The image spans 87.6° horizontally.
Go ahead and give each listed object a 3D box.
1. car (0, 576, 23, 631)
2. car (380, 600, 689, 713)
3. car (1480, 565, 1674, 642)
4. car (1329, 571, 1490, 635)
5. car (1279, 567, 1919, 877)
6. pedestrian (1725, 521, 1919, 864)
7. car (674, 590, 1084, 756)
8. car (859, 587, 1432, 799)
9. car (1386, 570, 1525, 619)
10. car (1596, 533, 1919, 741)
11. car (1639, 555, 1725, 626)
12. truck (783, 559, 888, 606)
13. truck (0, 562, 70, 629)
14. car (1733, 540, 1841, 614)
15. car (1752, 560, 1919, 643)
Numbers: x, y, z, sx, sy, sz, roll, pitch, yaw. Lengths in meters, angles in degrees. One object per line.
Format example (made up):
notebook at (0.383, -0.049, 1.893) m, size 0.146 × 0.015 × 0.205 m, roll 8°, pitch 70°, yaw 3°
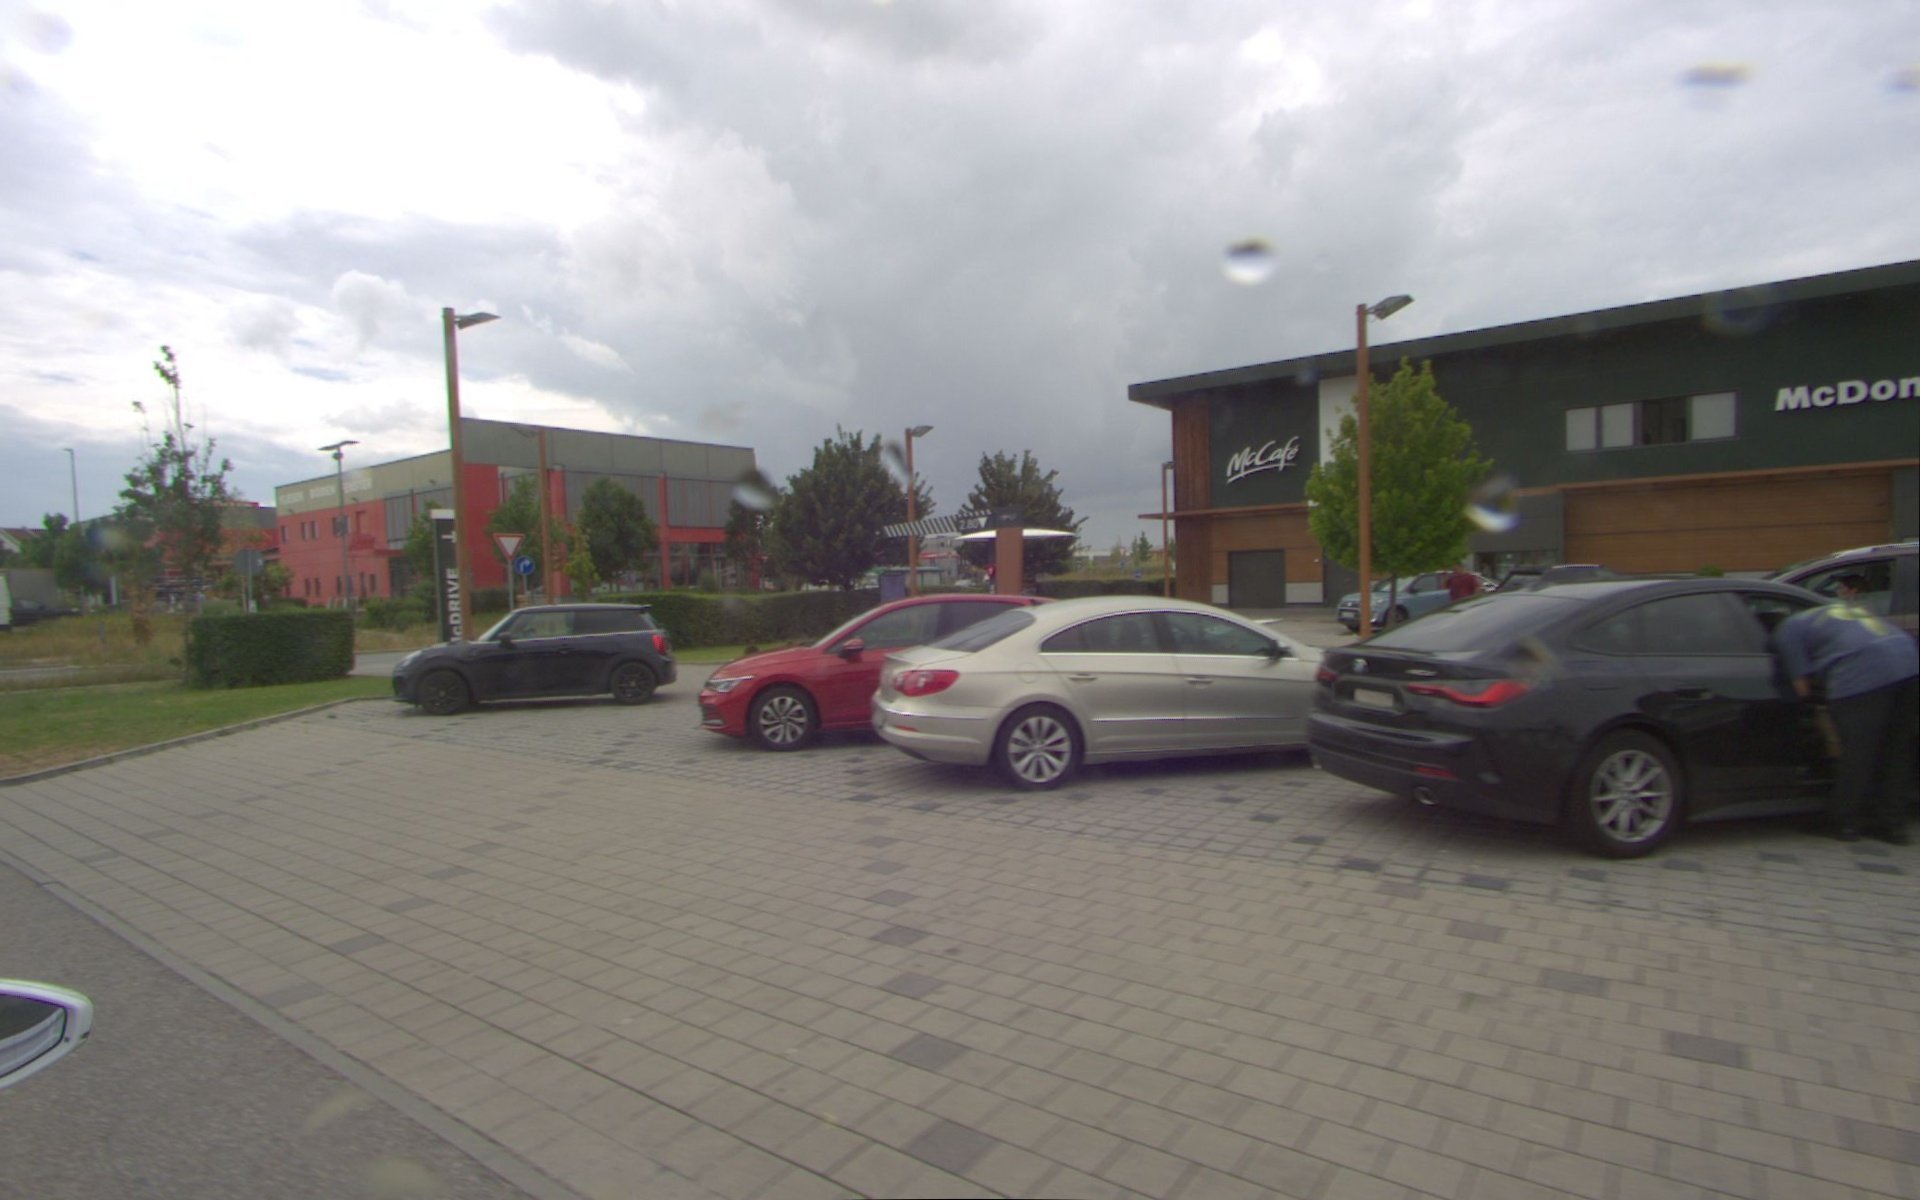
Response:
car at (-43.458, 0.128, 43.898) m, size 6.420 × 2.299 × 2.328 m, roll 1°, pitch 3°, yaw 37°
car at (-5.980, 0.747, 14.534) m, size 3.858 × 1.431 × 1.685 m, roll -1°, pitch 1°, yaw -14°
car at (15.508, 0.034, 25.237) m, size 3.928 × 1.774 × 1.995 m, roll -1°, pitch 3°, yaw -16°
car at (12.301, 0.043, 27.454) m, size 3.836 × 1.606 × 1.746 m, roll -1°, pitch 3°, yaw -18°
car at (4.367, 0.573, 6.122) m, size 4.324 × 1.483 × 1.685 m, roll -1°, pitch 1°, yaw -11°
pedestrian at (4.852, 0.458, 5.419) m, size 0.827 × 1.700 × 0.749 m, roll -1°, pitch 0°, yaw -11°
car at (-0.850, 0.676, 10.476) m, size 3.924 × 1.484 × 1.686 m, roll -1°, pitch 1°, yaw -10°
car at (1.452, 0.645, 8.380) m, size 4.377 × 1.431 × 1.751 m, roll -1°, pitch 1°, yaw -13°
car at (16.534, -0.220, 33.479) m, size 3.946 × 1.527 × 1.776 m, roll 1°, pitch 3°, yaw 36°
car at (8.258, 0.270, 9.093) m, size 4.130 × 1.713 × 1.800 m, roll 1°, pitch 3°, yaw 32°
car at (19.526, -0.321, 27.199) m, size 1.728 × 1.778 × 3.974 m, roll 1°, pitch 3°, yaw 34°
truck at (-13.125, -1.892, 104.735) m, size 11.848 × 4.562 × 3.737 m, roll 1°, pitch 3°, yaw 39°
truck at (-56.667, -0.375, 60.570) m, size 8.150 × 3.796 × 2.636 m, roll 1°, pitch 3°, yaw 38°
car at (21.356, -0.635, 26.008) m, size 1.728 × 1.778 × 3.974 m, roll 1°, pitch 3°, yaw 34°
car at (19.680, -0.006, 21.584) m, size 4.015 × 1.595 × 1.836 m, roll -2°, pitch 2°, yaw -8°
